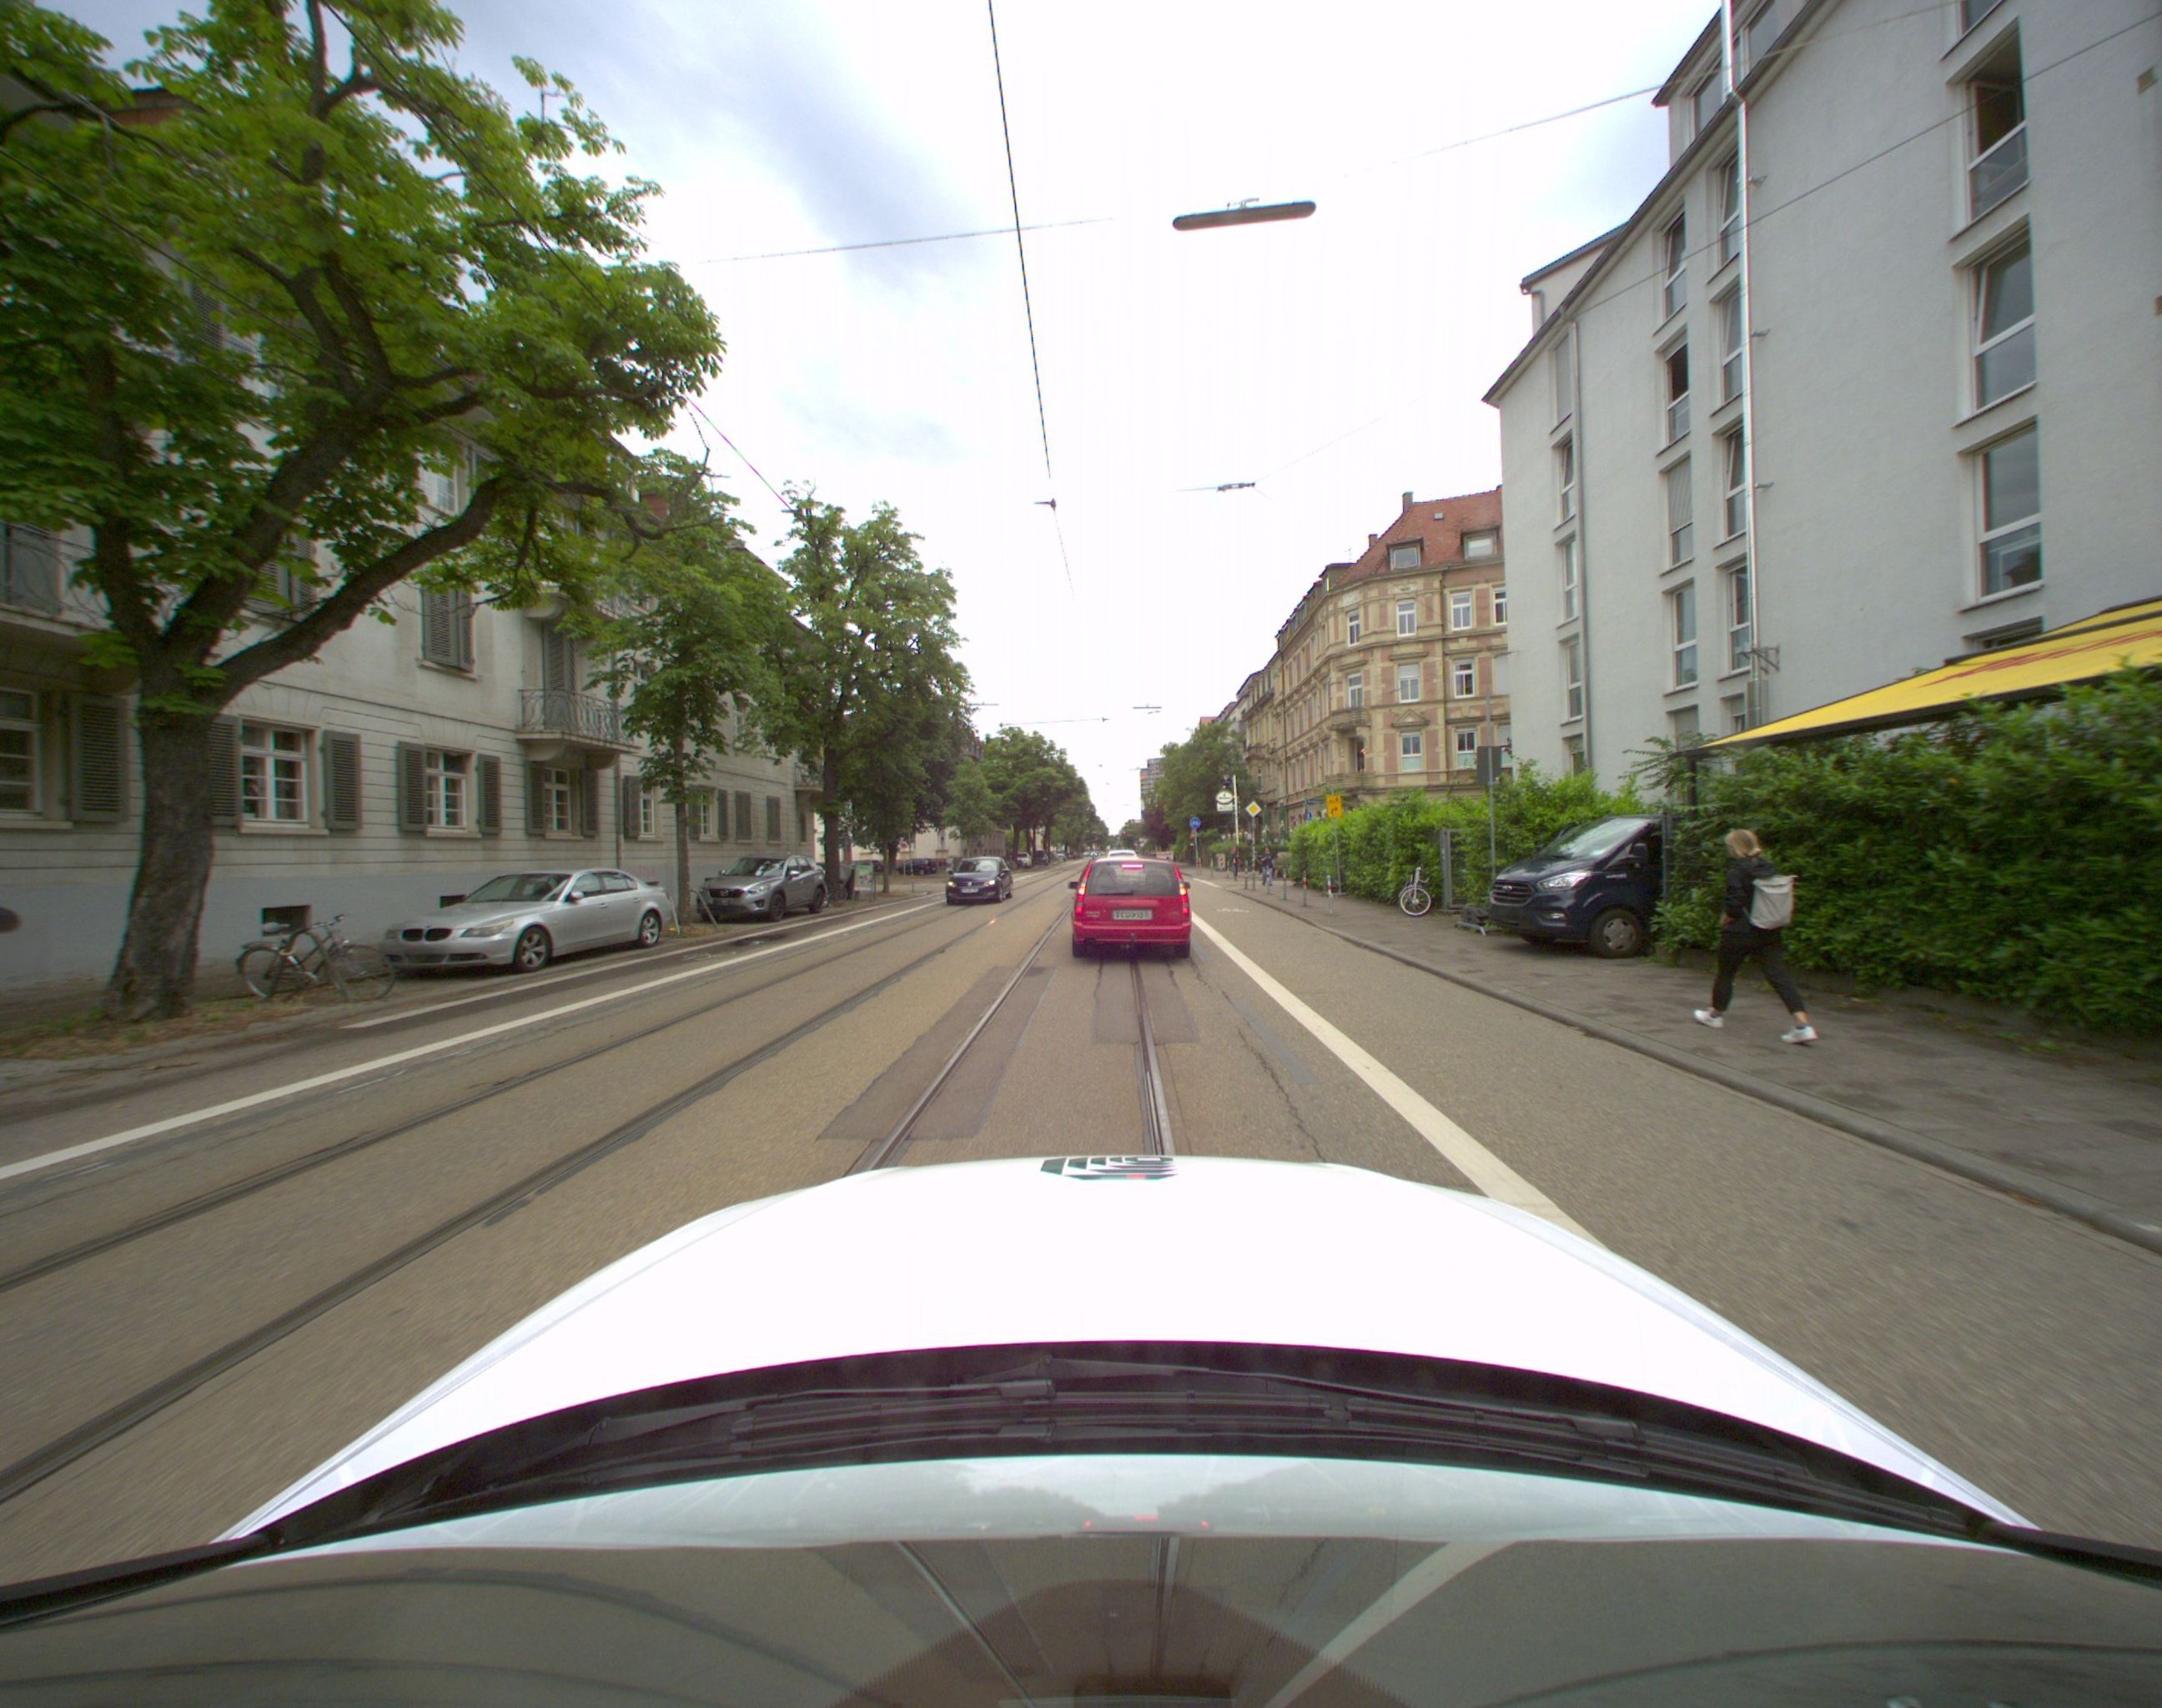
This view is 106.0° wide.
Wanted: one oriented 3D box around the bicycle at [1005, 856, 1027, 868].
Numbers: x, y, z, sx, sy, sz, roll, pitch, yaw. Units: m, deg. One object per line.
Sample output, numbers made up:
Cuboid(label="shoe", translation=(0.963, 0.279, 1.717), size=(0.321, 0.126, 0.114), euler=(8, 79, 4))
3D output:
Cuboid(label="bicycle", translation=(-5.998, 0.758, 75.455), size=(1.915, 1.121, 0.624), euler=(0, 0, 2))

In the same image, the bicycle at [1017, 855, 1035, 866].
Cuboid(label="bicycle", translation=(-5.771, 0.661, 84.838), size=(1.730, 1.192, 0.655), euler=(0, 0, 16))

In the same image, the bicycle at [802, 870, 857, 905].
Cuboid(label="bicycle", translation=(-7.878, 1.040, 25.523), size=(1.369, 1.005, 0.931), euler=(1, 0, 6))

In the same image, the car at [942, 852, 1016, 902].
Cuboid(label="car", translation=(-3.148, 0.681, 25.827), size=(1.722, 1.408, 3.657), euler=(-2, 0, 2))

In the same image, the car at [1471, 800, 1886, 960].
Cuboid(label="car", translation=(7.968, 0.335, 11.228), size=(4.261, 1.809, 1.825), euler=(-3, 0, 4))

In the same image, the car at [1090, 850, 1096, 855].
Cuboid(label="car", translation=(3.261, -0.396, 220.850), size=(1.749, 1.380, 4.028), euler=(-2, 0, 2))

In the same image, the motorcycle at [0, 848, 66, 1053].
Cuboid(label="motorcycle", translation=(-9.260, 0.799, 5.745), size=(0.827, 1.643, 2.487), euler=(-2, 0, 10))

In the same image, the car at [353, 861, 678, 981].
Cuboid(label="car", translation=(-8.536, 0.897, 12.947), size=(1.805, 1.466, 4.616), euler=(-1, 0, 2))

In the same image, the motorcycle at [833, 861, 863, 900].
Cuboid(label="motorcycle", translation=(-8.152, 0.910, 28.531), size=(0.539, 1.257, 2.139), euler=(-2, 0, -4))

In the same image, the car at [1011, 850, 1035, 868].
Cuboid(label="car", translation=(-5.671, 0.468, 79.520), size=(1.890, 1.655, 4.226), euler=(-1, 0, 1))

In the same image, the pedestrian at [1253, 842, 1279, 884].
Cuboid(label="pedestrian", translation=(7.498, 0.347, 33.032), size=(0.790, 1.636, 0.836), euler=(-3, 0, 2))

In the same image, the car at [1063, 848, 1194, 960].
Cuboid(label="car", translation=(0.782, 0.640, 12.437), size=(1.681, 1.441, 3.748), euler=(-1, 0, 5))

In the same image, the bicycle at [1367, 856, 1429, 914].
Cuboid(label="bicycle", translation=(6.892, 0.649, 17.777), size=(0.630, 1.127, 1.813), euler=(-4, 1, 2))

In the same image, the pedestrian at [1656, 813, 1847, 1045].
Cuboid(label="pedestrian", translation=(5.282, 0.552, 6.484), size=(0.621, 1.671, 0.960), euler=(-4, 0, 1))

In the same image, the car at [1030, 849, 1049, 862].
Cuboid(label="car", translation=(-4.965, 0.178, 98.425), size=(1.770, 1.511, 4.241), euler=(-1, 0, 3))

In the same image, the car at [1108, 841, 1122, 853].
Cuboid(label="car", translation=(4.554, -0.959, 110.093), size=(1.735, 1.606, 4.000), euler=(-2, 0, 0))

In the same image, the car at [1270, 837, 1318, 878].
Cuboid(label="car", translation=(10.804, 0.126, 41.029), size=(2.036, 1.877, 5.052), euler=(-2, 0, 18))

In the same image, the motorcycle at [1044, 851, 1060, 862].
Cuboid(label="motorcycle", translation=(-4.321, 0.334, 120.429), size=(2.243, 1.511, 0.932), euler=(-2, -2, 37))

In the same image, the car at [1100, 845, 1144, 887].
Cuboid(label="car", translation=(1.772, 0.472, 34.316), size=(1.711, 1.624, 3.946), euler=(-2, 0, 4))

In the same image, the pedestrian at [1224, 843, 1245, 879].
Cuboid(label="pedestrian", translation=(7.373, 0.319, 39.029), size=(0.866, 1.655, 0.912), euler=(-2, 0, 15))

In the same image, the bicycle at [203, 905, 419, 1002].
Cuboid(label="bicycle", translation=(-8.836, 1.128, 9.388), size=(1.889, 1.027, 0.563), euler=(0, 0, -2))

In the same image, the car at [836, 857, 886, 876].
Cuboid(label="car", translation=(-19.037, 1.086, 70.409), size=(3.896, 1.464, 1.716), euler=(-2, 0, 25))

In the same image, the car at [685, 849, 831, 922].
Cuboid(label="car", translation=(-8.130, 0.717, 20.975), size=(1.830, 1.661, 4.297), euler=(1, 0, 3))

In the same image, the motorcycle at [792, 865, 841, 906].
Cuboid(label="motorcycle", translation=(-7.991, 0.954, 24.662), size=(1.278, 1.222, 0.549), euler=(-1, 0, 8))

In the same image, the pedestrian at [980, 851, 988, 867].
Cuboid(label="pedestrian", translation=(-9.126, 0.446, 76.534), size=(0.562, 1.467, 0.723), euler=(-2, 0, 2))

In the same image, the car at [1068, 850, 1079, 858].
Cuboid(label="car", translation=(-1.489, -0.001, 165.543), size=(1.844, 1.563, 3.945), euler=(-2, 0, 2))

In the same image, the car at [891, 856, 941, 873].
Cuboid(label="car", translation=(-13.690, 0.897, 67.764), size=(3.714, 1.307, 1.751), euler=(-2, 0, 25))
